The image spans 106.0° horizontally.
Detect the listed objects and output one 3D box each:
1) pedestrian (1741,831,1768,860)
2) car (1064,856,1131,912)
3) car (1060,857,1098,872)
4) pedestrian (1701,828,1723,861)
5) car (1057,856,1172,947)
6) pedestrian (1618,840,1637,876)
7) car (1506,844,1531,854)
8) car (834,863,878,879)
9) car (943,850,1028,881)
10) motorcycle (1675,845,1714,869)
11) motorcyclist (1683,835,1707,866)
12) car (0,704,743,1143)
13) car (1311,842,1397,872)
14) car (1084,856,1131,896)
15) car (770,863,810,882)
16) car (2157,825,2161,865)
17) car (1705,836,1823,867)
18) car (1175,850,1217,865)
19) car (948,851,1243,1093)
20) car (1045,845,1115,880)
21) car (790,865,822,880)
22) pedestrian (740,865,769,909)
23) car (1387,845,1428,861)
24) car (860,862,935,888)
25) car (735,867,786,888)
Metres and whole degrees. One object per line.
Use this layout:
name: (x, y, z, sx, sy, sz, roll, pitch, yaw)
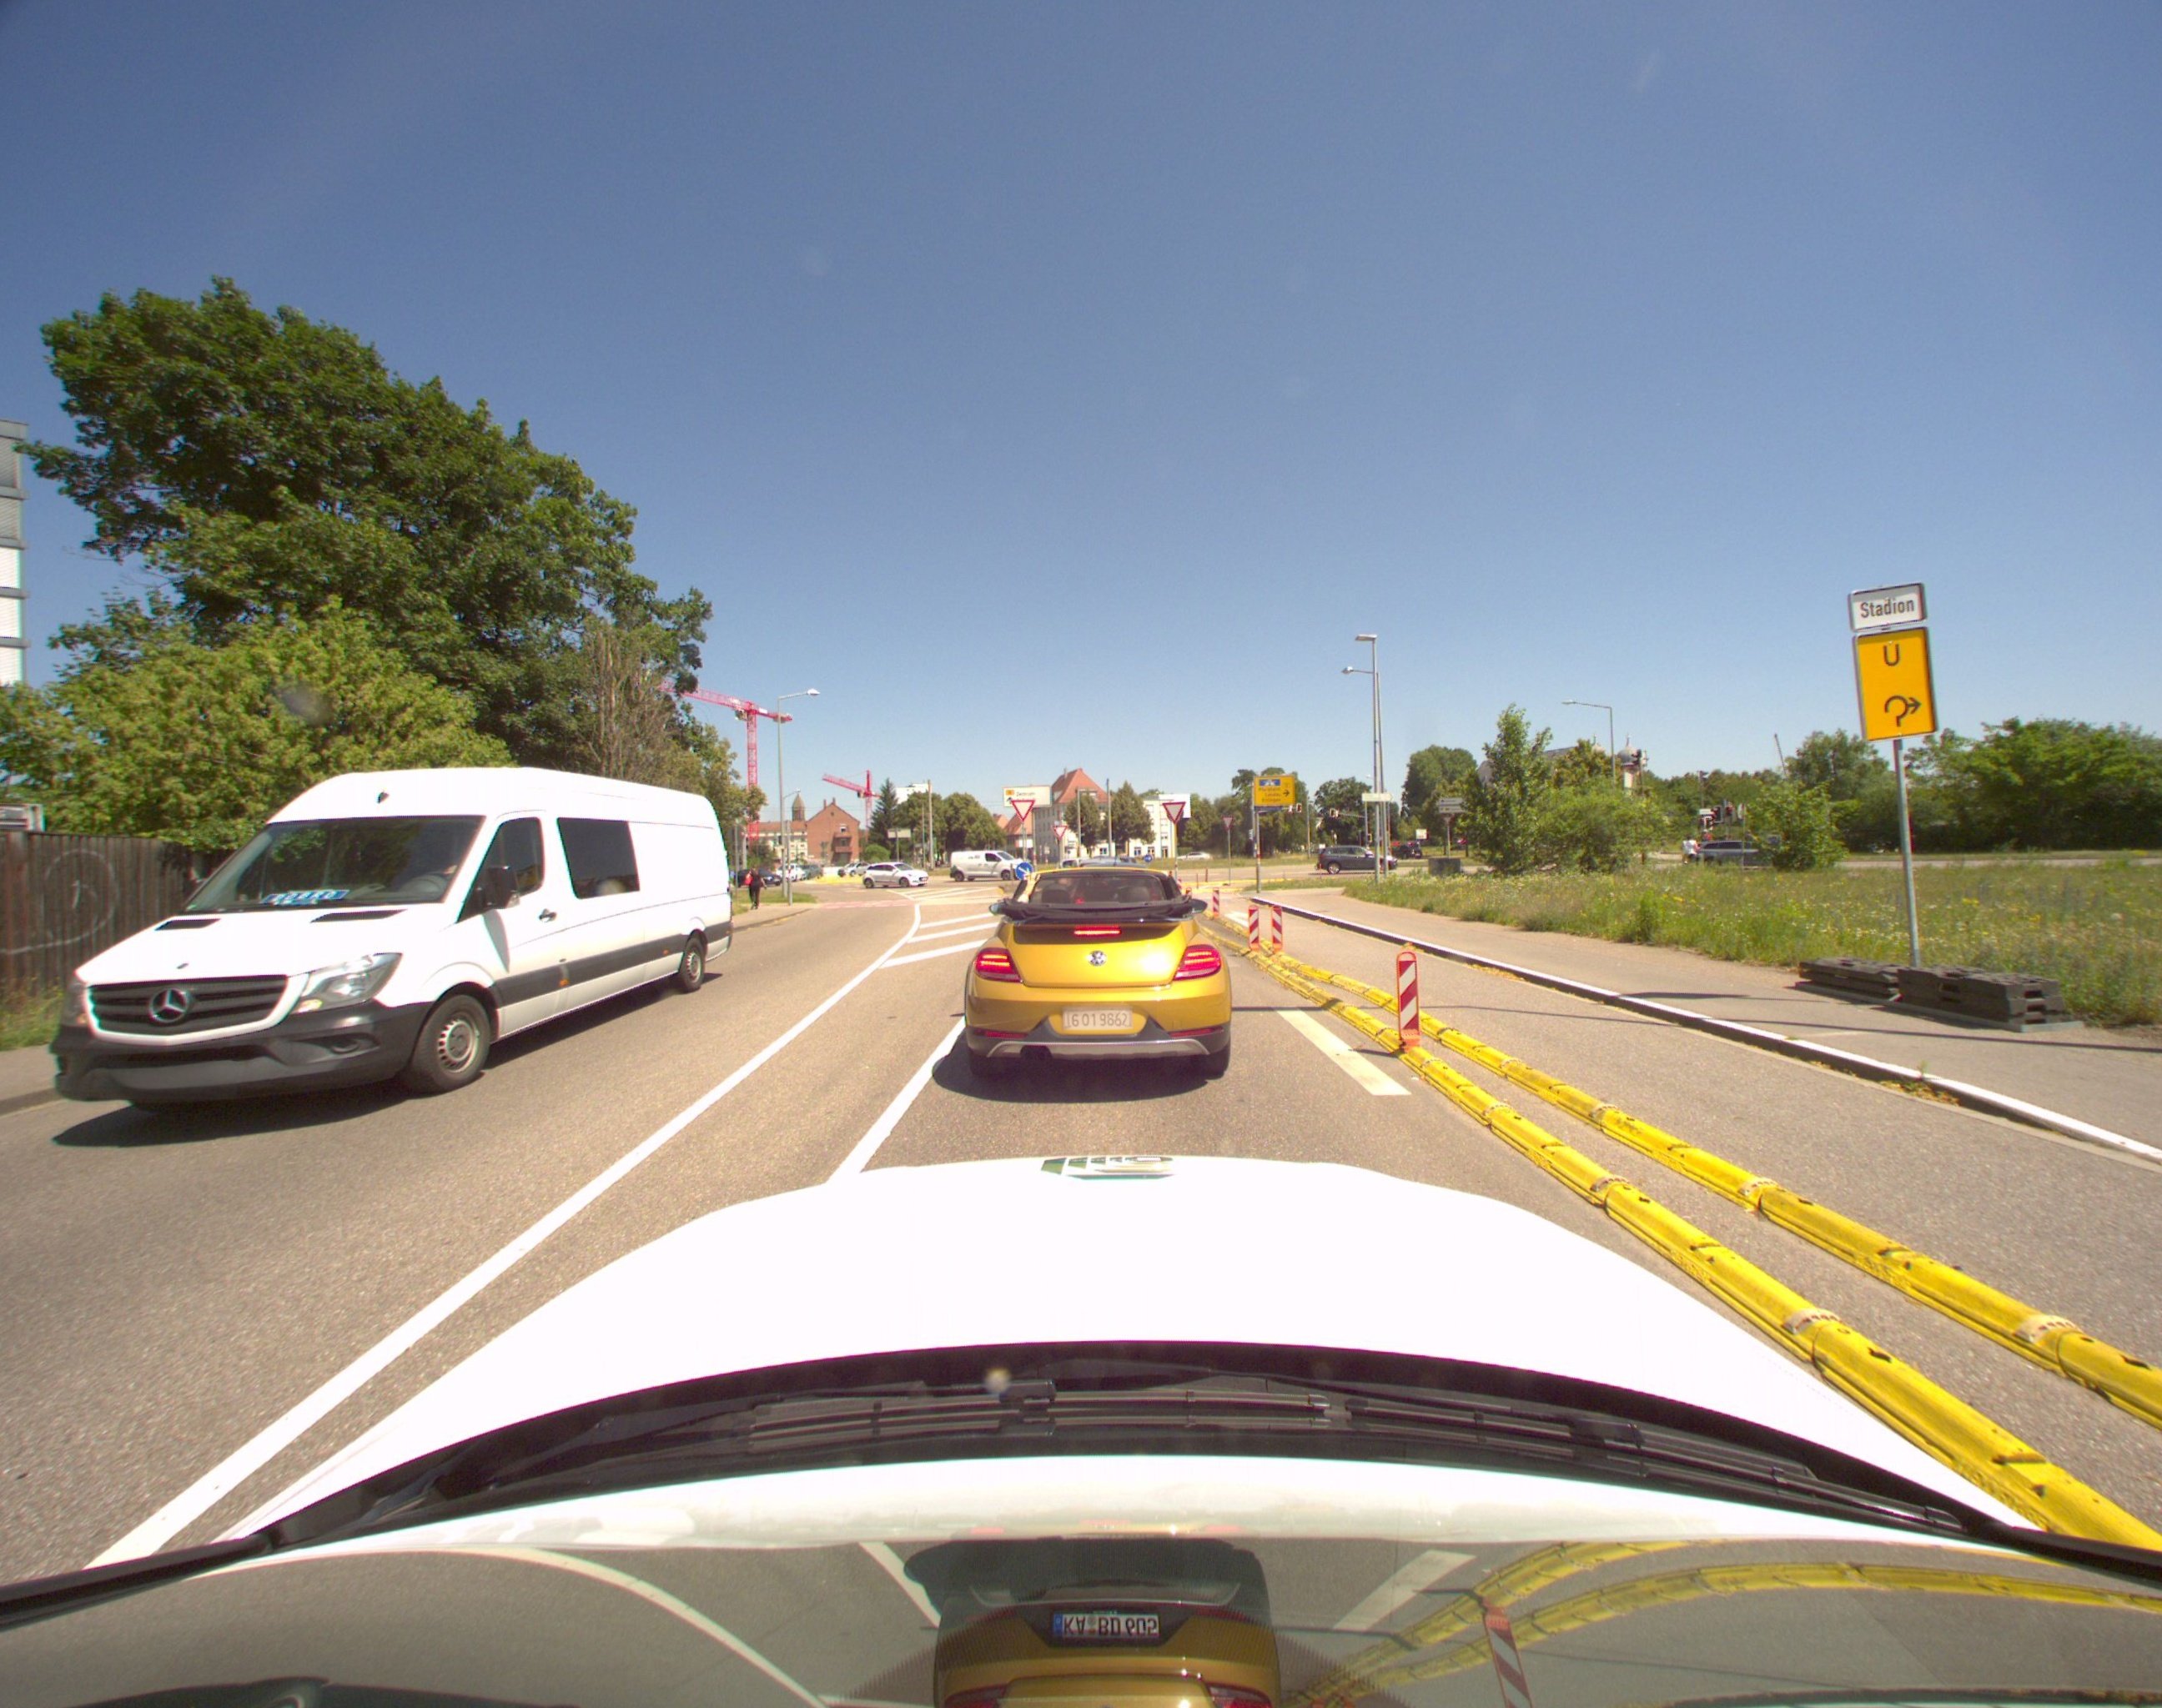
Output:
pedestrian: (37.938, -0.478, 45.888, 0.789, 1.563, 0.823, -1, -1, 3)
car: (0.502, 0.799, 23.523, 1.730, 1.442, 4.002, -1, 0, 2)
car: (-0.280, 1.407, 109.962, 4.904, 1.786, 2.024, -3, 0, -3)
pedestrian: (36.610, -0.539, 47.253, 0.647, 1.870, 0.737, -1, -1, 3)
car: (0.613, 0.780, 15.205, 1.841, 1.442, 4.002, -1, 0, 2)
pedestrian: (24.267, 0.168, 36.151, 0.495, 1.563, 0.514, -1, -1, 1)
car: (84.770, -0.993, 157.797, 3.996, 1.714, 1.989, -1, 0, -17)
car: (-23.160, 1.730, 84.035, 1.690, 1.500, 4.247, -1, 0, 34)
car: (-6.034, 0.724, 51.341, 4.928, 1.850, 2.010, -1, -1, 21)
motorcycle: (25.919, 0.128, 34.381, 1.712, 0.970, 0.625, -1, -1, -28)
motorcyclist: (25.939, -0.160, 34.428, 0.616, 1.289, 0.576, -1, -1, -28)
car: (-5.708, 0.418, 8.295, 2.016, 2.539, 6.817, -3, 0, -4)
car: (15.503, 0.151, 46.426, 4.403, 1.596, 2.006, -1, 0, 11)
car: (1.056, 0.826, 32.448, 1.730, 1.477, 4.002, -1, 0, 2)
car: (-24.533, 1.557, 68.770, 1.750, 1.549, 4.002, -1, 0, 2)
car: (43.264, -0.390, 30.084, 3.950, 1.552, 1.751, -1, -1, 44)
car: (32.466, -0.100, 38.766, 4.155, 1.391, 1.913, -1, -1, 45)
car: (15.321, 0.421, 108.374, 5.118, 1.786, 2.037, -3, 0, 22)
car: (0.137, 0.717, 6.767, 1.746, 1.422, 3.778, -1, 0, 1)
car: (-0.042, 0.452, 44.925, 3.645, 1.850, 1.636, -1, -1, 7)
car: (-25.142, 1.680, 74.518, 1.702, 1.236, 3.784, -1, 0, -2)
pedestrian: (-11.852, 1.178, 29.549, 0.814, 1.563, 0.867, -1, -1, -35)
car: (36.153, -0.097, 90.234, 1.948, 1.672, 4.175, -2, 0, -18)
car: (-10.721, 1.231, 47.558, 3.975, 1.444, 1.640, -1, -1, 18)
car: (-24.096, 1.740, 61.125, 4.148, 1.442, 2.012, -1, -1, 43)
